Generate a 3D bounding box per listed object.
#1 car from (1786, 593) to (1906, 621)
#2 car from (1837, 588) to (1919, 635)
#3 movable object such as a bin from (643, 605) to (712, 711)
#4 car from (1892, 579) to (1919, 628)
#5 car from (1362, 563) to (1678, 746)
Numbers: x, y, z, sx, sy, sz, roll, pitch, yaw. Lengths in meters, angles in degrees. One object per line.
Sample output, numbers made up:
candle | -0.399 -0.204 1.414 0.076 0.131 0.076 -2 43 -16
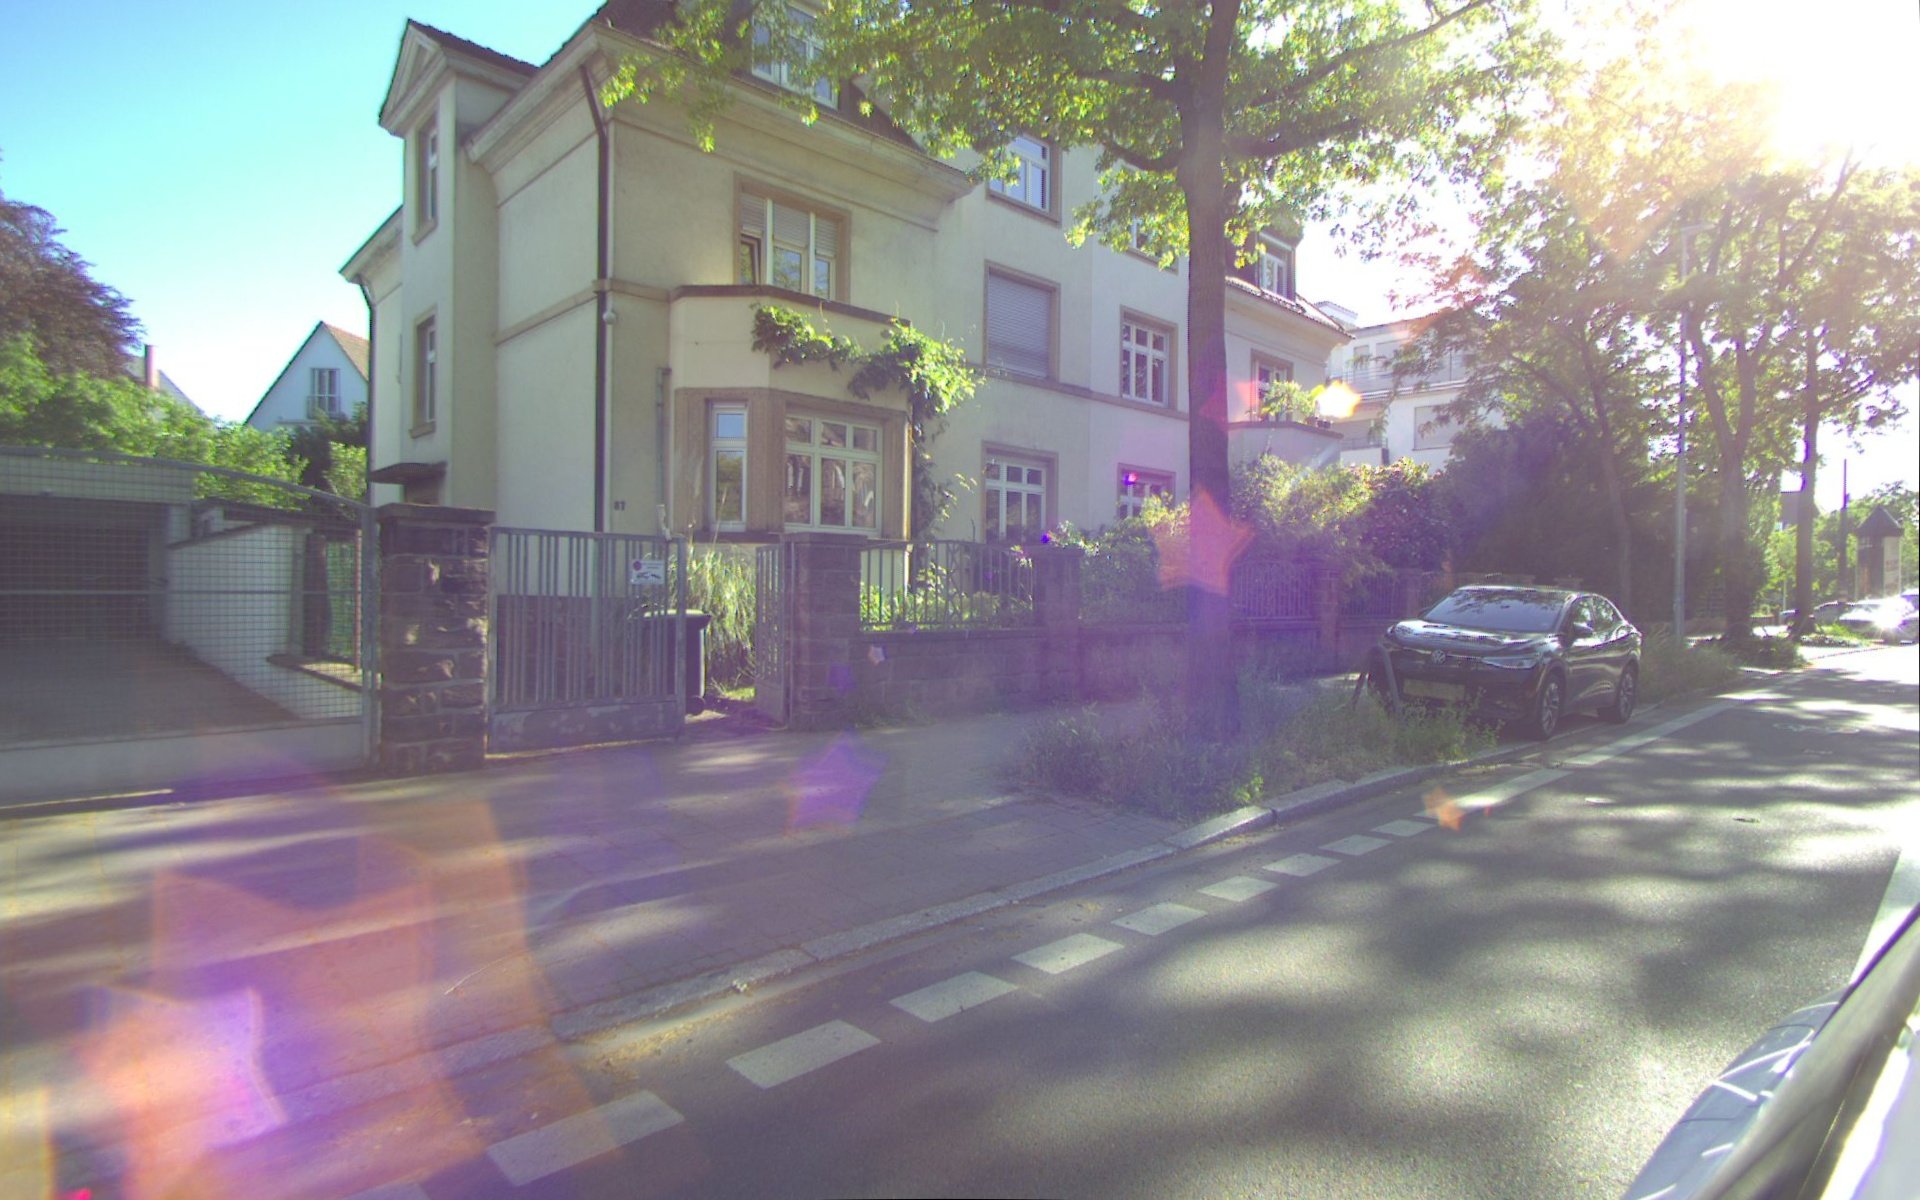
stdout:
car | 46.644 0.332 53.349 1.934 1.386 4.520 0 1 -40
car | 31.697 0.348 34.480 4.254 1.440 1.999 -1 2 -38
movable object such as a bin | -2.976 0.589 10.637 0.634 1.060 0.659 0 0 -21
car | 36.618 0.132 37.719 4.664 1.768 2.028 0 1 -38
car | 6.869 0.500 12.187 4.647 1.714 1.808 0 4 -42
